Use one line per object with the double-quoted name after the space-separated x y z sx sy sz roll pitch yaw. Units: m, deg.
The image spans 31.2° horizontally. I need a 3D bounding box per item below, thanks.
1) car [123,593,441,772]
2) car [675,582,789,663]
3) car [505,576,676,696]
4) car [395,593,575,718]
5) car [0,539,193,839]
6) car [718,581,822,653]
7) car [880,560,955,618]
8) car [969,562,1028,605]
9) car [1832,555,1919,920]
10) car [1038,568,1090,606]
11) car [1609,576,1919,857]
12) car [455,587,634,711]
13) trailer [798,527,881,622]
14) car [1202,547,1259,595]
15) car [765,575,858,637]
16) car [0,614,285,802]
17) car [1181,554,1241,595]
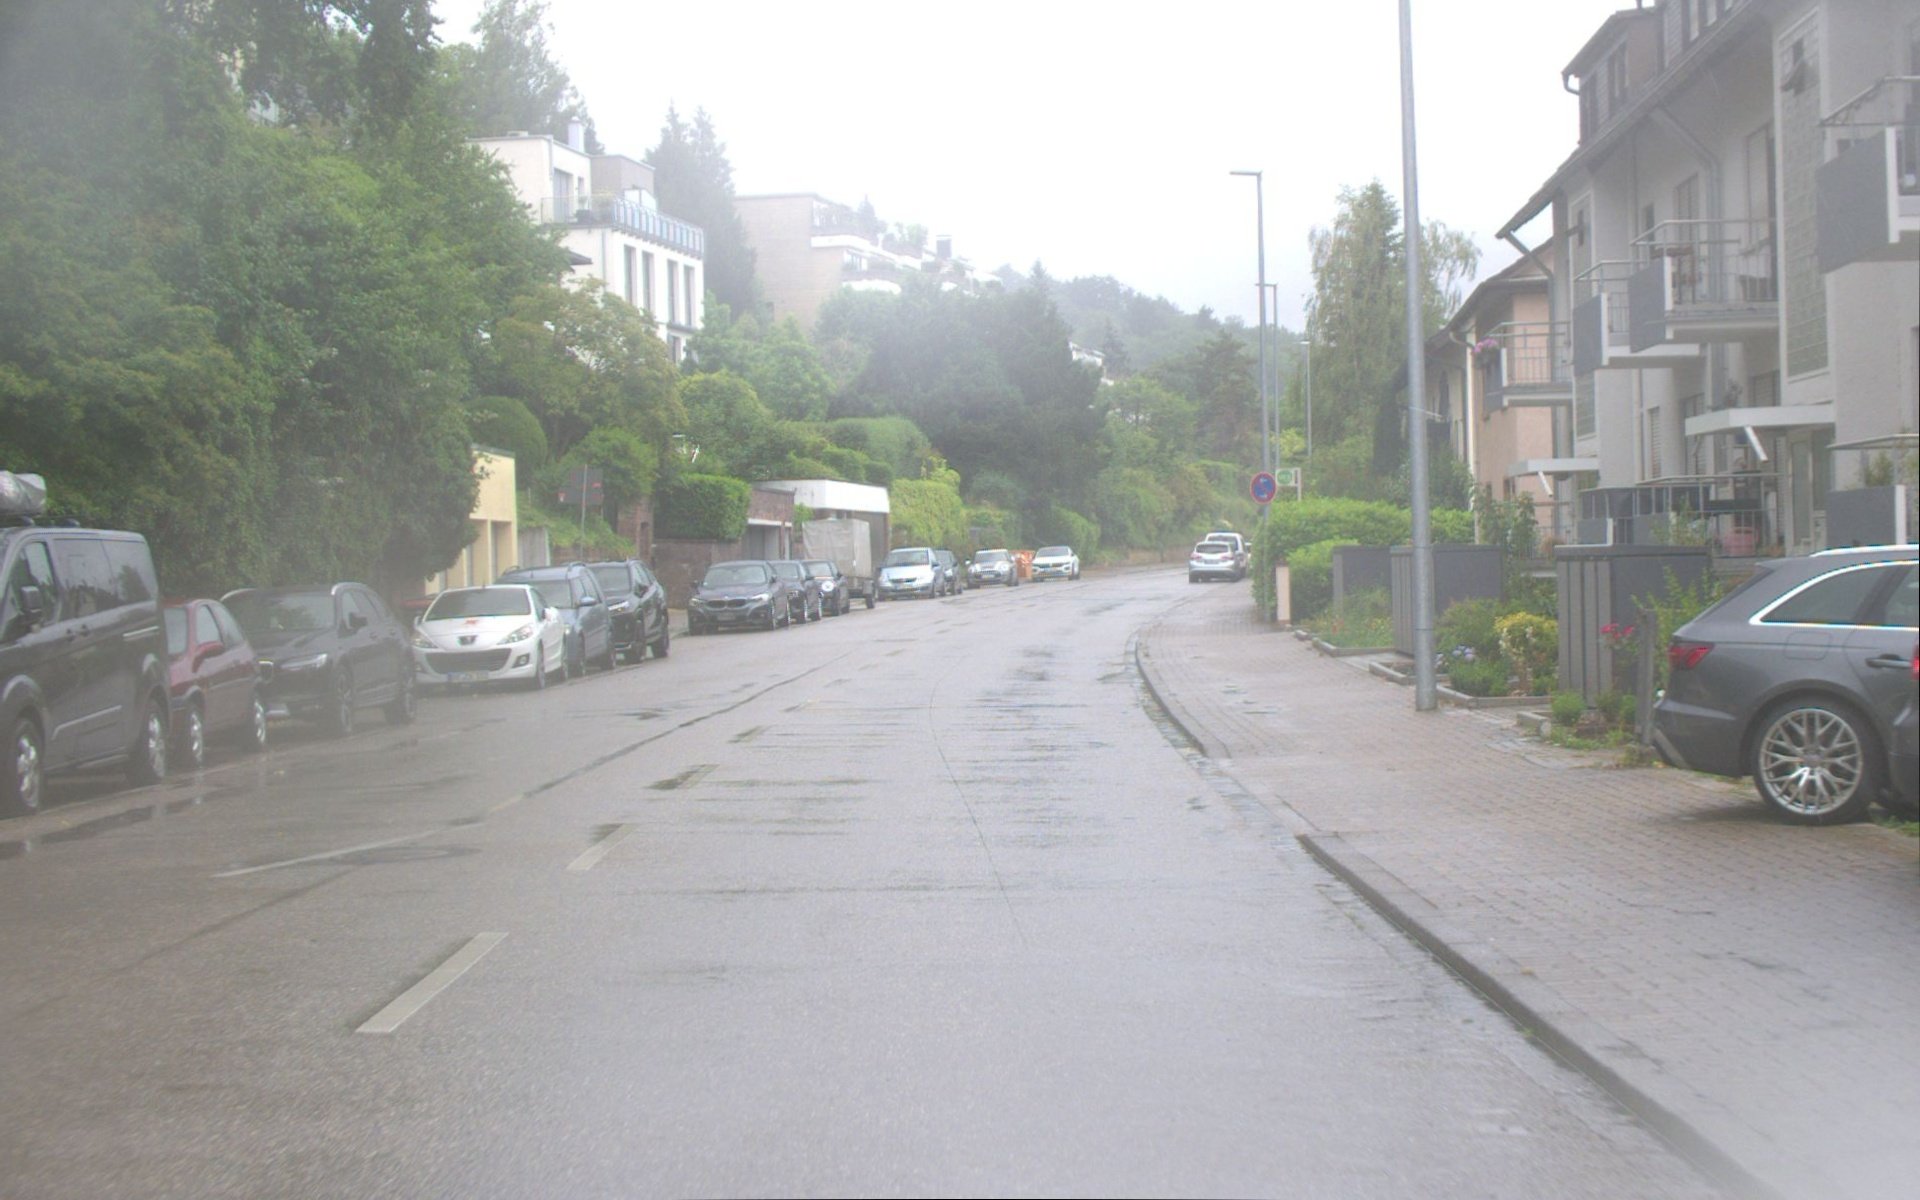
-6.675 0.763 34.401 1.908 1.475 4.755 -5 0 3 "car"
-4.838 0.452 73.570 1.786 1.450 4.755 -4 1 3 "car"
-5.927 0.545 55.623 1.874 1.620 4.593 -5 1 4 "car"
-6.267 0.699 45.774 1.716 1.360 4.084 -4 1 0 "car"
-7.145 0.599 23.978 2.158 1.912 5.323 -3 0 2 "car"
-4.360 0.374 79.464 1.786 1.410 4.217 -4 1 4 "car"
-1.294 -0.353 105.885 1.756 1.534 3.756 -5 1 6 "car"
1.456 -0.628 128.778 1.756 1.397 3.769 -5 1 6 "car"
5.729 0.503 13.648 3.995 1.452 1.769 -1 1 35 "car"
4.486 -0.577 147.710 1.756 1.492 4.219 -3 0 7 "car"
5.666 0.544 17.095 4.376 1.360 1.916 -1 0 35 "car"
-6.072 0.684 50.663 1.742 1.555 4.109 -4 1 4 "car"
-3.203 -0.700 91.784 1.537 2.391 3.072 -4 1 8 "trailer"
10.525 -1.128 133.559 1.785 1.784 4.359 -2 1 9 "car"
-3.702 0.142 86.294 1.808 1.344 3.775 -4 1 4 "car"
-7.019 0.874 29.535 1.564 1.360 3.907 -4 0 0 "car"
9.382 -0.975 128.270 1.790 1.455 4.307 -2 1 9 "car"
